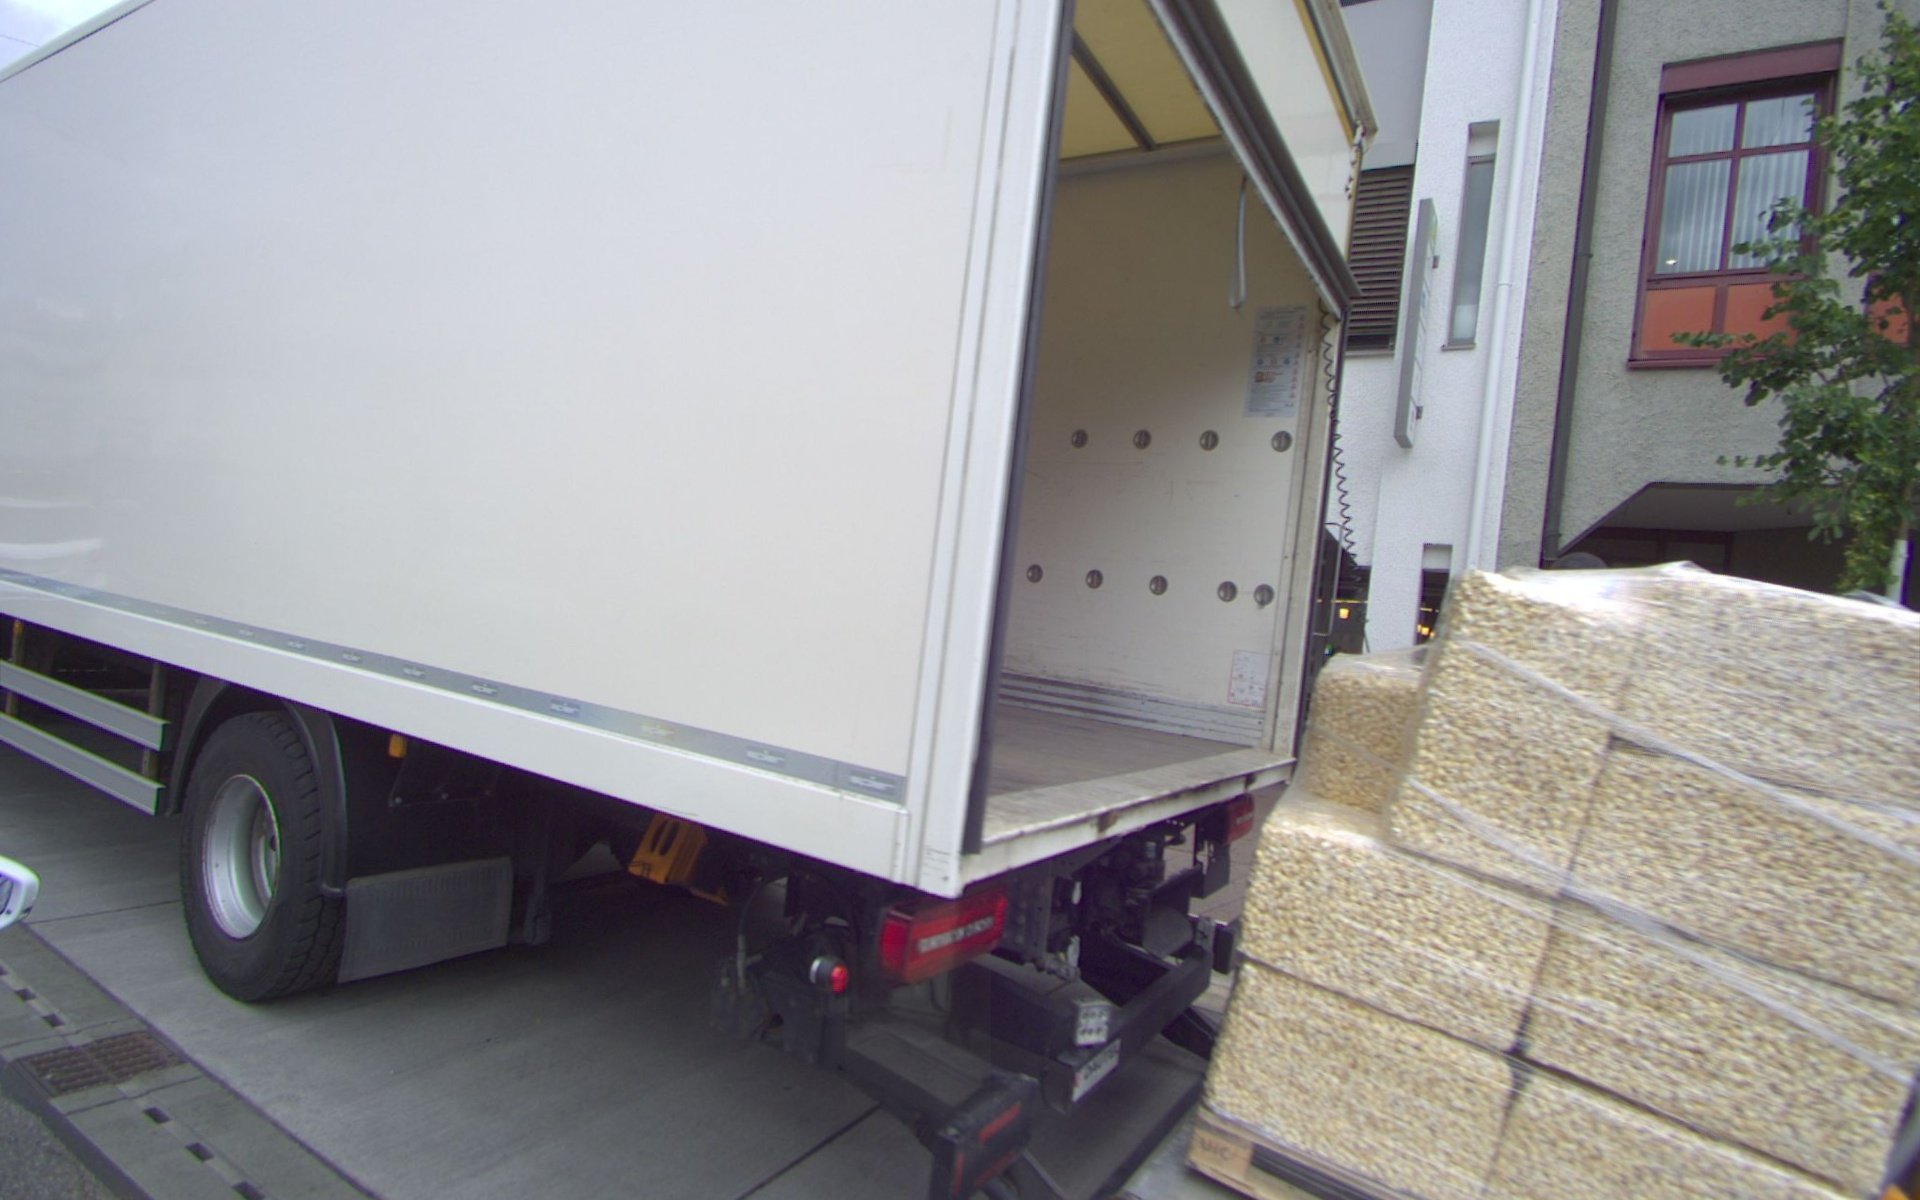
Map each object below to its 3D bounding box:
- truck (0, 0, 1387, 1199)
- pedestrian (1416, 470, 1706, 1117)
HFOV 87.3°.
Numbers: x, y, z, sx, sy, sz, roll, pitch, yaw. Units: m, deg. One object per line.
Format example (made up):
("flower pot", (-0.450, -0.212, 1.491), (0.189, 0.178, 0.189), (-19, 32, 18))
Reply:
("truck", (-3.281, -0.752, 5.317), (9.604, 3.605, 2.692), (7, 0, 32))
("pedestrian", (1.874, 0.541, 3.205), (0.578, 1.802, 0.614), (5, 1, 28))
